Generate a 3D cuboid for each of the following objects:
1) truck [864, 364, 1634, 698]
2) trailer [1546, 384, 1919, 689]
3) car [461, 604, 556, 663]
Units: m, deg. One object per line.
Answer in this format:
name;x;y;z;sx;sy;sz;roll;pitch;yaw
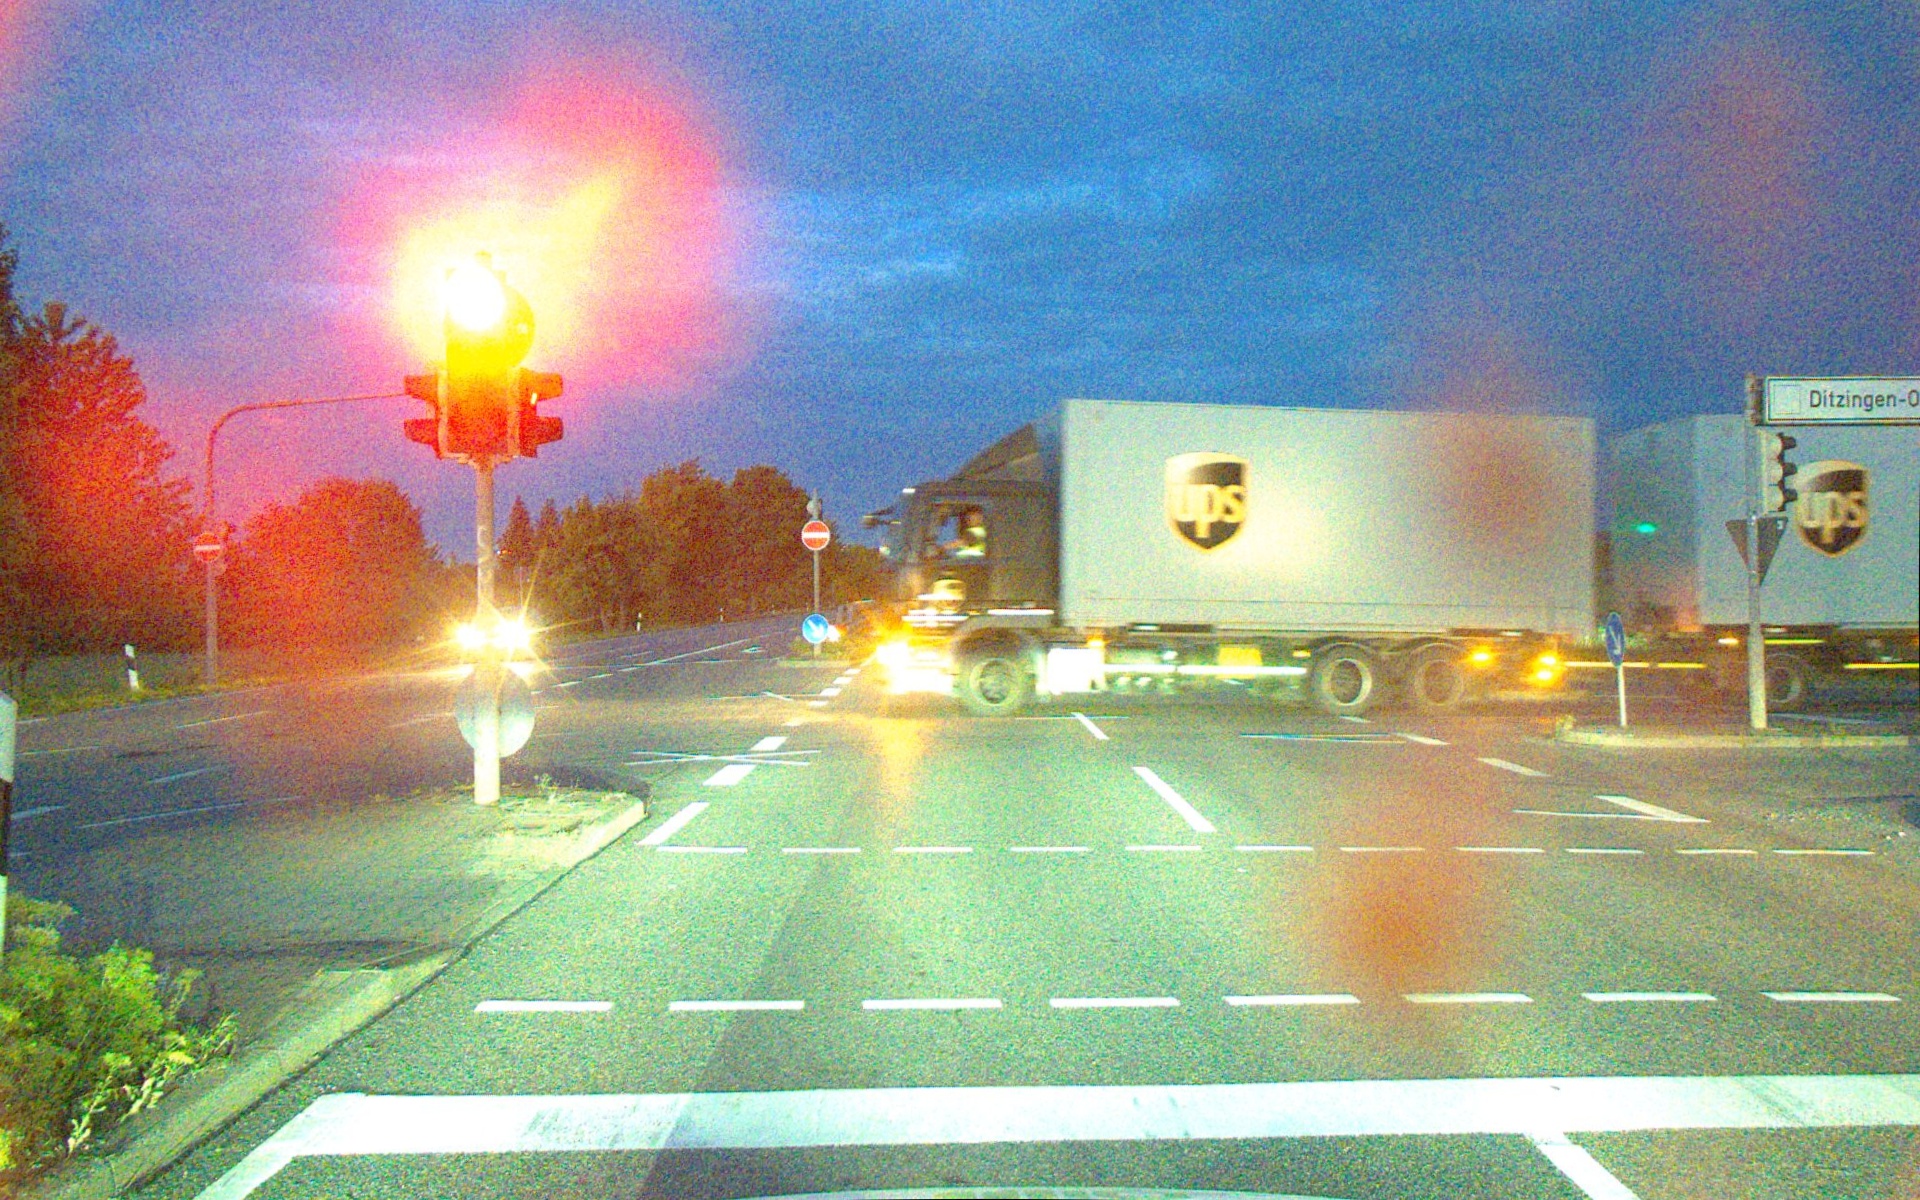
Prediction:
truck;3.817;-0.878;22.768;10.117;4.189;2.730;0;0;-8
trailer;13.194;-0.941;23.748;8.676;4.012;2.582;-2;0;-6
car;-12.589;0.907;46.265;1.596;1.400;3.589;-5;1;-1
